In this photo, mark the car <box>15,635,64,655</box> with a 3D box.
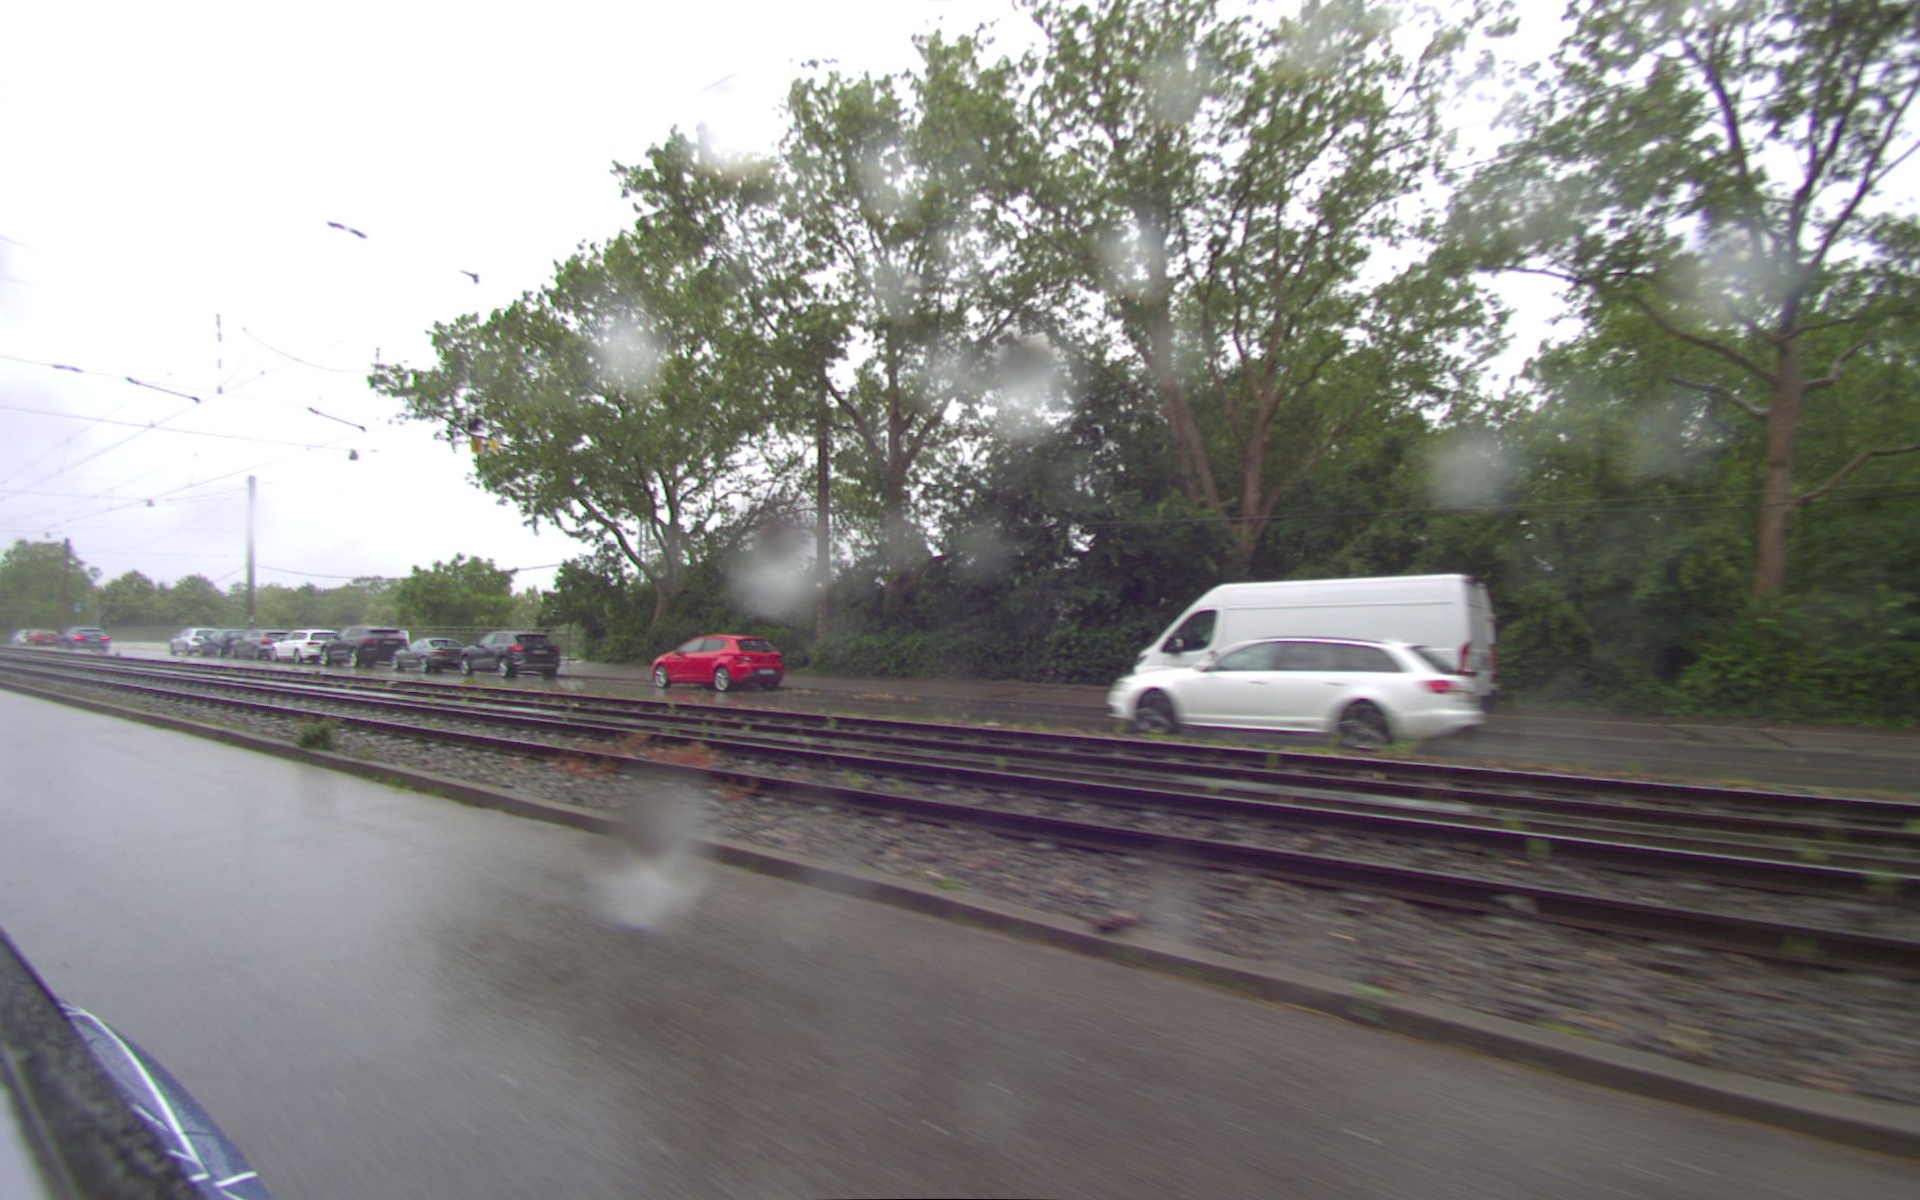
[{"bbox_3d":[-73.838,3.594,81.183,4.910,1.478,2.014,-2,-2,37],"label":"car"}]

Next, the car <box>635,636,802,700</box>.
[{"bbox_3d":[-6.475,1.761,27.003,4.378,1.564,2.014,-2,-4,37],"label":"car"}]

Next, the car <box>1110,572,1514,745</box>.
[{"bbox_3d":[5.826,0.933,17.312,6.131,2.465,2.307,-1,-3,38],"label":"car"}]

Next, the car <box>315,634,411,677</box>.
[{"bbox_3d":[-24.156,2.211,40.901,4.363,1.663,1.867,-2,-4,38],"label":"car"}]

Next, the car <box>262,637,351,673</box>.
[{"bbox_3d":[-28.963,2.400,44.808,4.571,1.522,1.868,-2,-4,37],"label":"car"}]

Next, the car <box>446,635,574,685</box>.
[{"bbox_3d":[-15.116,1.971,33.909,4.377,1.564,2.014,-1,-4,37],"label":"car"}]

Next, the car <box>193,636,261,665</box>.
[{"bbox_3d":[-37.781,2.598,52.124,3.917,1.442,1.633,-1,-3,35],"label":"car"}]

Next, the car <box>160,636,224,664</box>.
[{"bbox_3d":[-41.985,2.731,55.289,4.144,1.442,1.633,-1,-3,36],"label":"car"}]

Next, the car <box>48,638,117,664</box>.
[{"bbox_3d":[-51.259,2.966,59.095,4.910,1.478,2.014,-1,-4,37],"label":"car"}]

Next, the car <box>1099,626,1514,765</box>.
[{"bbox_3d":[4.567,1.178,13.778,4.988,1.564,2.014,-1,-4,37],"label":"car"}]

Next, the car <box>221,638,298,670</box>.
[{"bbox_3d":[-33.670,2.583,48.603,4.121,1.442,1.634,-1,-3,34],"label":"car"}]

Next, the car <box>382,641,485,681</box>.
[{"bbox_3d":[-19.390,2.224,37.223,3.960,1.389,1.867,-2,-4,38],"label":"car"}]
